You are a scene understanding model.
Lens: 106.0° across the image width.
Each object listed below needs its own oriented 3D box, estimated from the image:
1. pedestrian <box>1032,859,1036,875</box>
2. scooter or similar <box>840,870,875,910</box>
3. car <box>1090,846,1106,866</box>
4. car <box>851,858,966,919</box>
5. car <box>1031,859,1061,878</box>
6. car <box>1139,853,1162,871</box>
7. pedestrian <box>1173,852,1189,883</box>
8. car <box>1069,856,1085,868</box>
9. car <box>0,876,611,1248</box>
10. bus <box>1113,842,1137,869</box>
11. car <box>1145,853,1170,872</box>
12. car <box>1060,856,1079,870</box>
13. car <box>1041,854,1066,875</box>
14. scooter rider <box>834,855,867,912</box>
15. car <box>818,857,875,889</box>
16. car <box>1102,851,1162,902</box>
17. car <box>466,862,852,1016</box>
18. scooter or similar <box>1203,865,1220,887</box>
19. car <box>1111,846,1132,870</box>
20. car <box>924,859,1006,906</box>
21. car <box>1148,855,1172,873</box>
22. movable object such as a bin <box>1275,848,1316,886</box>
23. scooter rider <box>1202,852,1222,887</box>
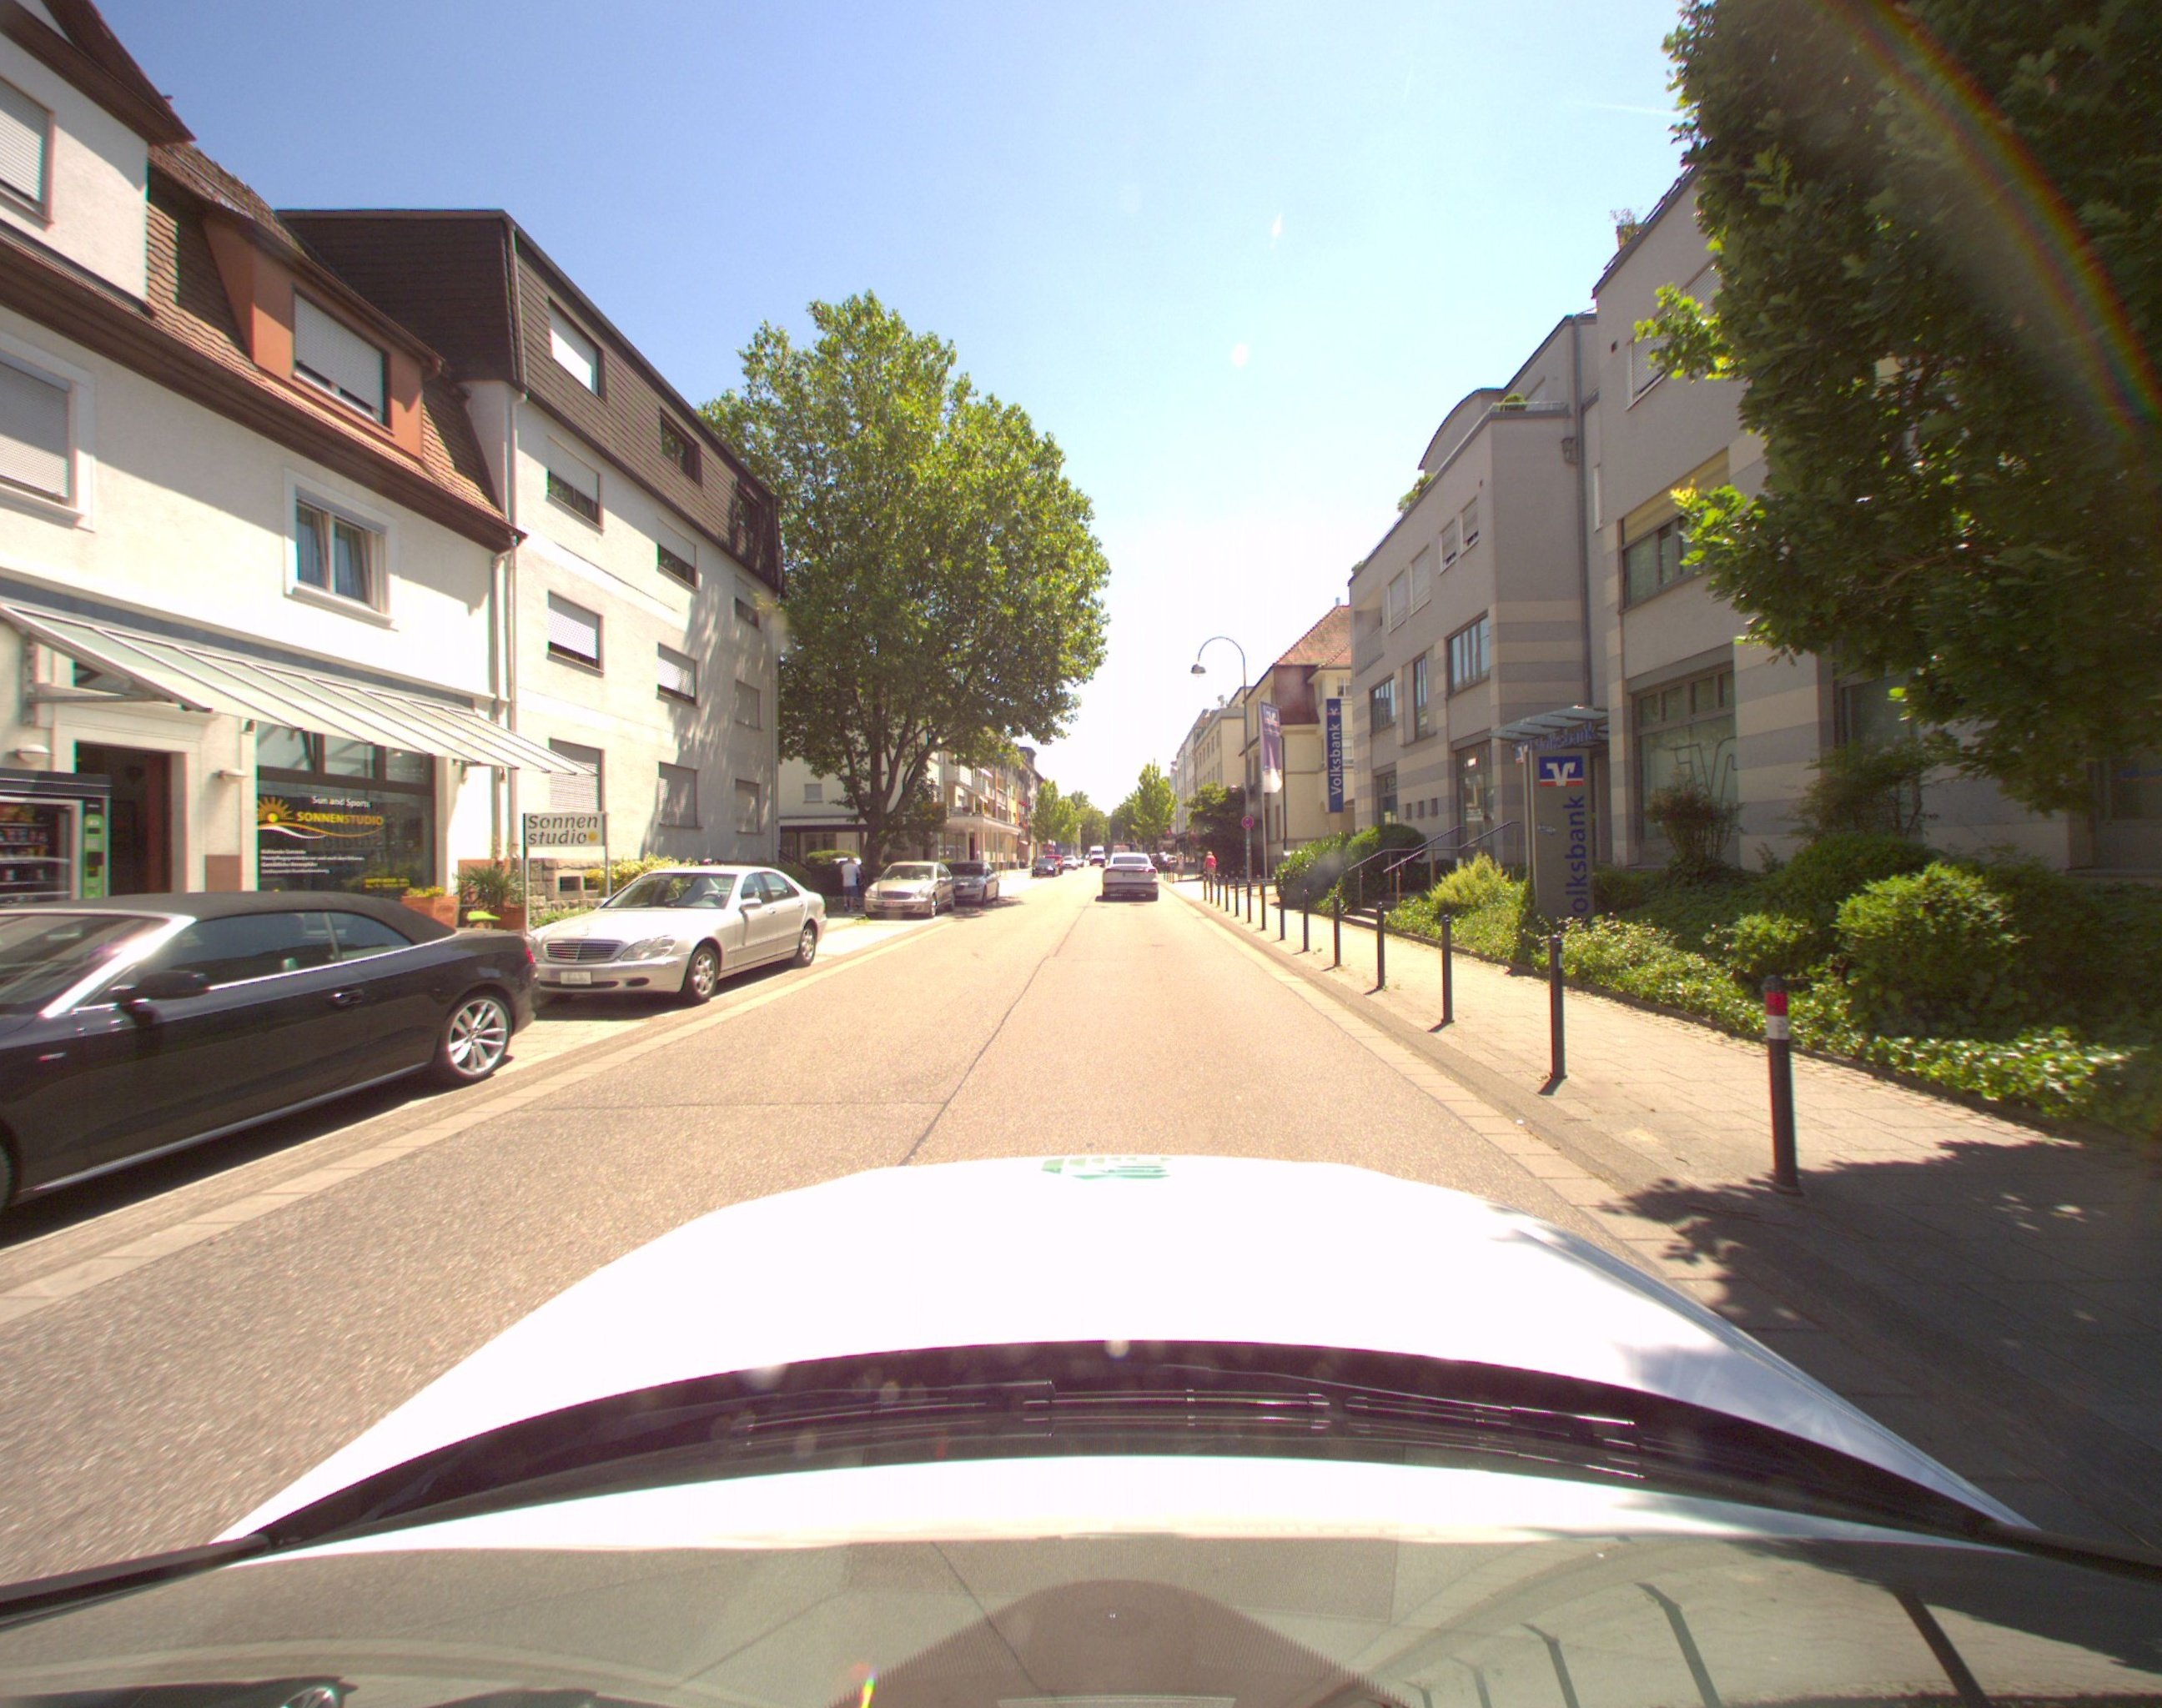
[{"bbox_3d":[-5.063,1.364,88.220,0.394,1.735,0.444,-1,-1,-9],"label":"pedestrian"},{"bbox_3d":[-6.516,1.037,23.775,0.660,1.098,1.029,1,0,4],"label":"scooter or similar"},{"bbox_3d":[2.406,0.312,114.493,2.028,2.630,7.111,-3,0,2],"label":"car"},{"bbox_3d":[-4.547,0.852,22.313,1.974,1.452,4.870,0,0,2],"label":"car"},{"bbox_3d":[-2.666,1.087,63.266,1.889,1.417,5.050,1,0,2],"label":"car"},{"bbox_3d":[6.926,0.813,81.634,1.850,1.674,4.536,-3,0,0],"label":"car"},{"bbox_3d":[5.584,0.749,45.482,0.697,1.627,0.784,-4,-1,1],"label":"pedestrian"},{"bbox_3d":[-0.473,0.997,103.893,1.744,1.453,4.406,1,0,4],"label":"car"},{"bbox_3d":[-5.170,0.881,4.519,1.934,1.373,5.102,0,0,3],"label":"car"},{"bbox_3d":[5.597,0.158,101.967,2.648,3.221,7.311,1,0,5],"label":"bus"},{"bbox_3d":[7.112,0.775,76.277,1.890,1.674,4.690,-3,0,0],"label":"car"},{"bbox_3d":[-1.278,1.018,93.041,1.745,1.618,4.405,1,0,4],"label":"car"},{"bbox_3d":[-2.333,0.888,69.739,1.746,1.702,4.103,1,0,2],"label":"car"},{"bbox_3d":[-6.557,0.815,23.184,0.586,1.575,0.878,1,0,4],"label":"scooter rider"},{"bbox_3d":[-11.587,0.916,40.115,1.902,1.486,3.959,-1,0,-28],"label":"car"},{"bbox_3d":[1.731,0.747,28.832,1.986,1.633,4.001,0,0,1],"label":"car"},{"bbox_3d":[-4.862,0.845,10.586,1.973,1.452,5.362,0,0,3],"label":"car"},{"bbox_3d":[5.890,1.006,36.875,0.660,0.963,0.754,-2,0,2],"label":"scooter or similar"},{"bbox_3d":[4.260,0.419,85.826,2.147,2.442,5.287,1,0,3],"label":"car"},{"bbox_3d":[-3.887,0.905,28.192,1.973,1.452,5.152,0,0,2],"label":"car"},{"bbox_3d":[6.789,0.847,70.139,1.887,1.438,4.549,-1,0,4],"label":"car"},{"bbox_3d":[9.003,0.552,34.300,1.362,1.458,1.382,-4,-1,4],"label":"movable object such as a bin"},{"bbox_3d":[5.841,0.679,36.231,0.713,1.548,0.770,-2,0,0],"label":"scooter rider"}]
